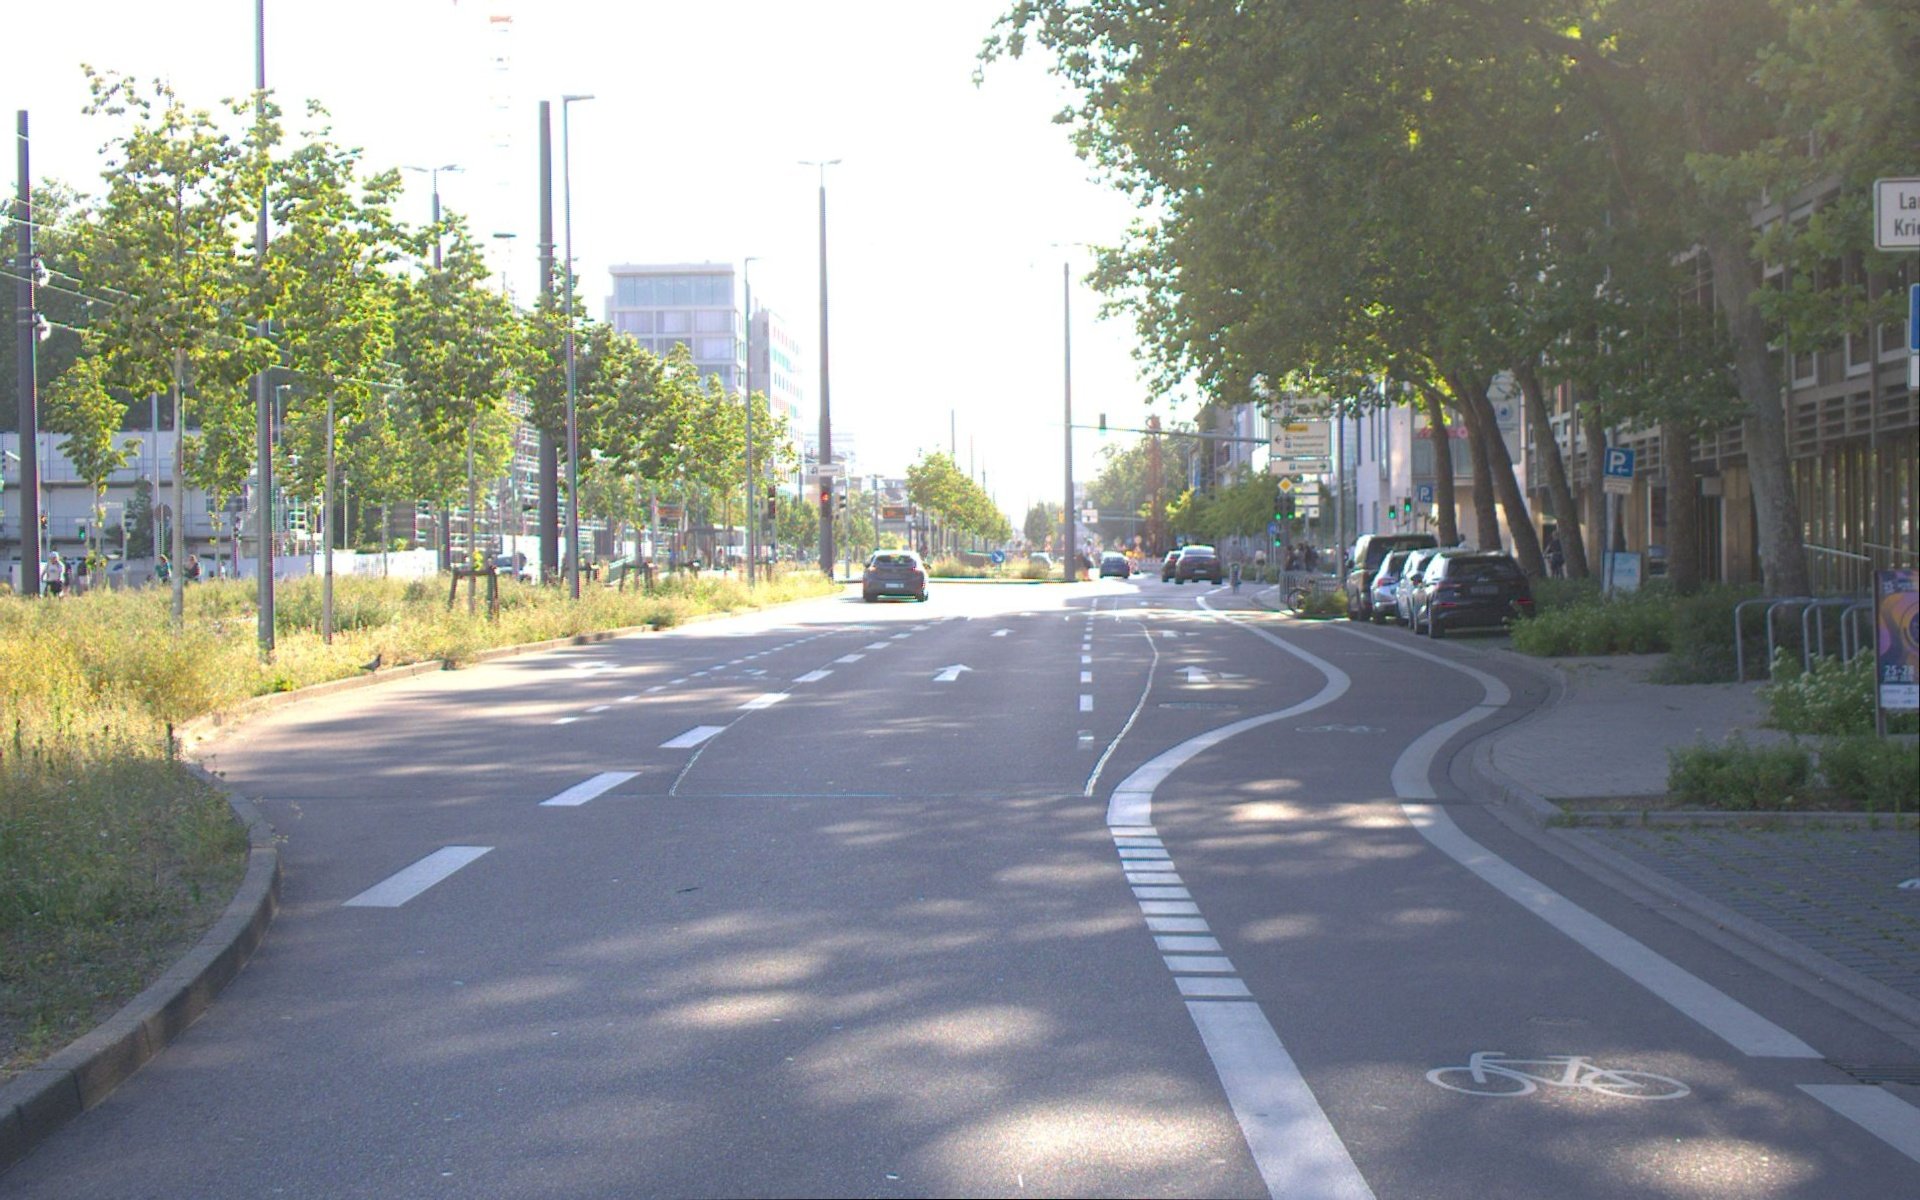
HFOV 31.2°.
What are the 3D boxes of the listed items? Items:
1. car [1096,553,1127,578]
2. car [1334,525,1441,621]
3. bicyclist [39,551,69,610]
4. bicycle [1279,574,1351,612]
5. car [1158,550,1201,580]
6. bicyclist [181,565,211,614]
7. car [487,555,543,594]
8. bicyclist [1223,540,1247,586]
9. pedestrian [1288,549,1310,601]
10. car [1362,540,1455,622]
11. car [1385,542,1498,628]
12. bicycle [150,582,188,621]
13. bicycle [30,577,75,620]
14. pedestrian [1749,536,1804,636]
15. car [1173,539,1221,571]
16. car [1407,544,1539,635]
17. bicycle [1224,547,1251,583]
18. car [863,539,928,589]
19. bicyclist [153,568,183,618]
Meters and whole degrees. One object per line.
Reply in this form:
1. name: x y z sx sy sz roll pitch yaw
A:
1. car: 9.311 -2.153 211.723 1.759 1.479 3.850 -1 1 0
2. car: 9.474 -0.623 76.522 1.829 1.964 5.321 -3 1 2
3. bicyclist: -22.947 -0.498 87.068 0.557 1.502 0.668 -1 1 2
4. bicycle: 8.746 -0.175 84.733 1.693 0.864 0.572 -2 1 11
5. car: 11.231 -1.798 176.182 1.940 1.479 3.926 -1 1 0
6. bicyclist: -22.505 -0.310 101.256 0.583 1.437 1.075 0 1 3
7. car: -21.177 -1.233 163.622 1.993 1.770 4.000 -1 1 2
8. bicyclist: 9.544 -1.294 119.275 0.800 1.596 0.785 0 1 2
9. pedestrian: 11.275 -0.828 114.233 0.634 1.697 0.570 -2 1 3
10. car: 9.129 -0.412 70.229 1.682 1.509 5.058 -3 1 6
11. car: 9.039 -0.305 64.718 1.681 1.473 3.874 -3 1 3
12. bicycle: -23.278 0.036 101.180 0.583 1.101 1.987 0 1 3
13. bicycle: -22.953 -0.054 87.013 0.559 1.056 1.898 -1 1 2
14. pedestrian: 15.245 -0.259 64.199 0.831 1.850 0.847 -1 1 2
15. car: 10.698 -2.048 155.424 1.940 1.423 3.926 -1 1 0
16. car: 8.654 -0.206 58.289 1.706 1.413 4.276 -3 1 3
17. bicycle: 9.617 -1.218 119.218 0.799 1.200 2.264 0 1 2
18. car: -1.838 -1.050 99.004 1.777 1.423 4.000 0 1 0
19. bicyclist: -23.271 -0.207 101.029 0.583 1.437 1.075 0 1 3
